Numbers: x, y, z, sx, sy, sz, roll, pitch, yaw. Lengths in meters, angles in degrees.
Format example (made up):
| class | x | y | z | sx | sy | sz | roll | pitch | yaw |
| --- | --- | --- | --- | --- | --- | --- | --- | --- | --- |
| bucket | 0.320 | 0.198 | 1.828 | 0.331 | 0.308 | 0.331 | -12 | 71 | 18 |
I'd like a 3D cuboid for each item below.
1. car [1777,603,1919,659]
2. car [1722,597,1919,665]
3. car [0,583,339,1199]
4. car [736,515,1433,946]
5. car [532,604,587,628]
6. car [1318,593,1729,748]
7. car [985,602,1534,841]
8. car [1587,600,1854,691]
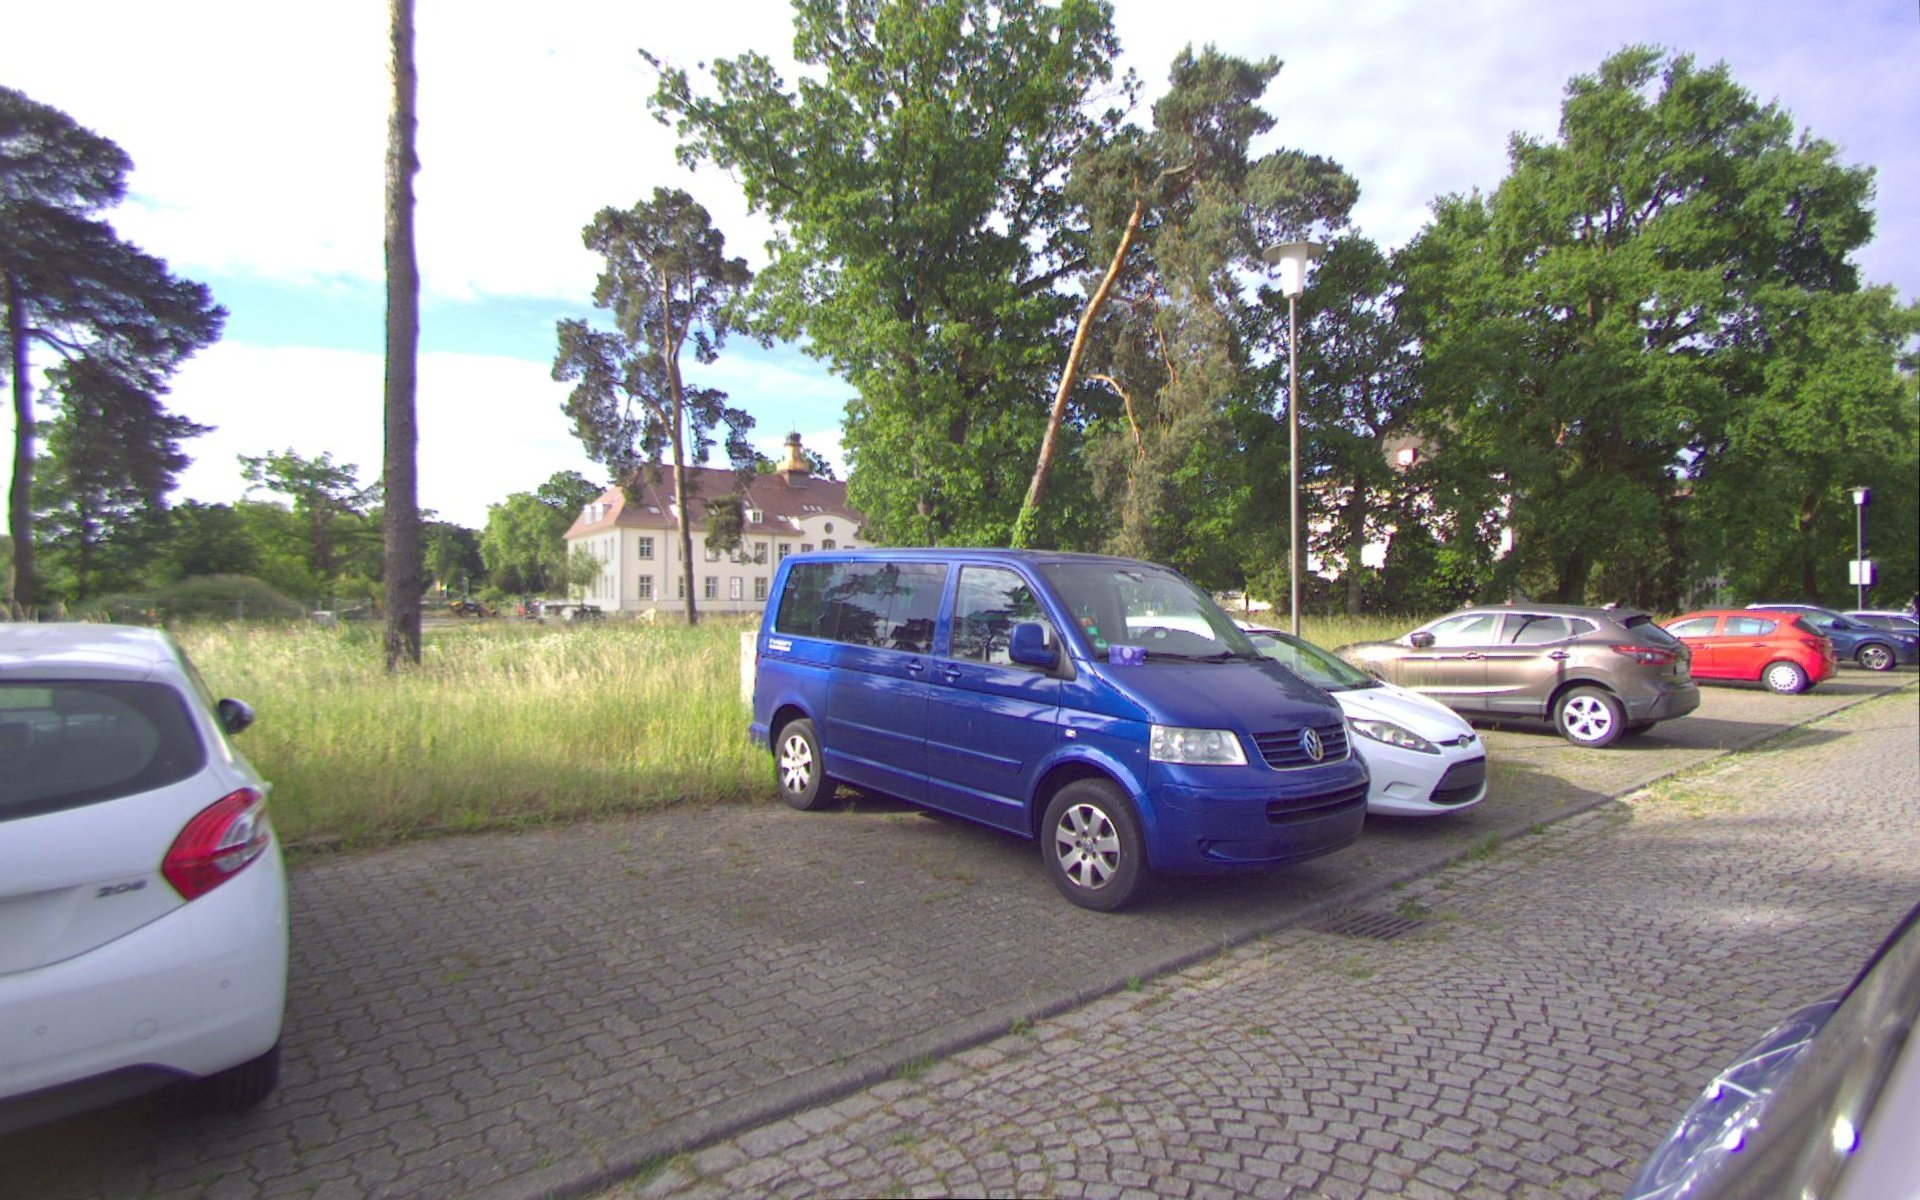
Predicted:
| class | x | y | z | sx | sy | sz | roll | pitch | yaw |
| --- | --- | --- | --- | --- | --- | --- | --- | --- | --- |
| car | 25.979 | 0.840 | 28.756 | 1.751 | 1.469 | 4.036 | -1 | 1 | -38 |
| car | 22.302 | 0.735 | 25.962 | 1.716 | 1.589 | 4.132 | -1 | 1 | -40 |
| car | -3.672 | 0.733 | 3.780 | 1.776 | 1.549 | 3.882 | -1 | 1 | -40 |
| car | 0.464 | 0.522 | 7.029 | 1.957 | 1.952 | 4.742 | -1 | 2 | -41 |
| car | -37.231 | 1.476 | 93.953 | 5.645 | 2.039 | 2.592 | -1 | 0 | 43 |
| car | 6.959 | 0.730 | 12.843 | 1.845 | 1.609 | 4.197 | -1 | 1 | -41 |
| car | 2.320 | 0.785 | 8.656 | 1.778 | 1.488 | 4.194 | -1 | 1 | -44 |
| car | 14.531 | 0.786 | 19.504 | 1.658 | 1.491 | 3.883 | -1 | 1 | -41 |
